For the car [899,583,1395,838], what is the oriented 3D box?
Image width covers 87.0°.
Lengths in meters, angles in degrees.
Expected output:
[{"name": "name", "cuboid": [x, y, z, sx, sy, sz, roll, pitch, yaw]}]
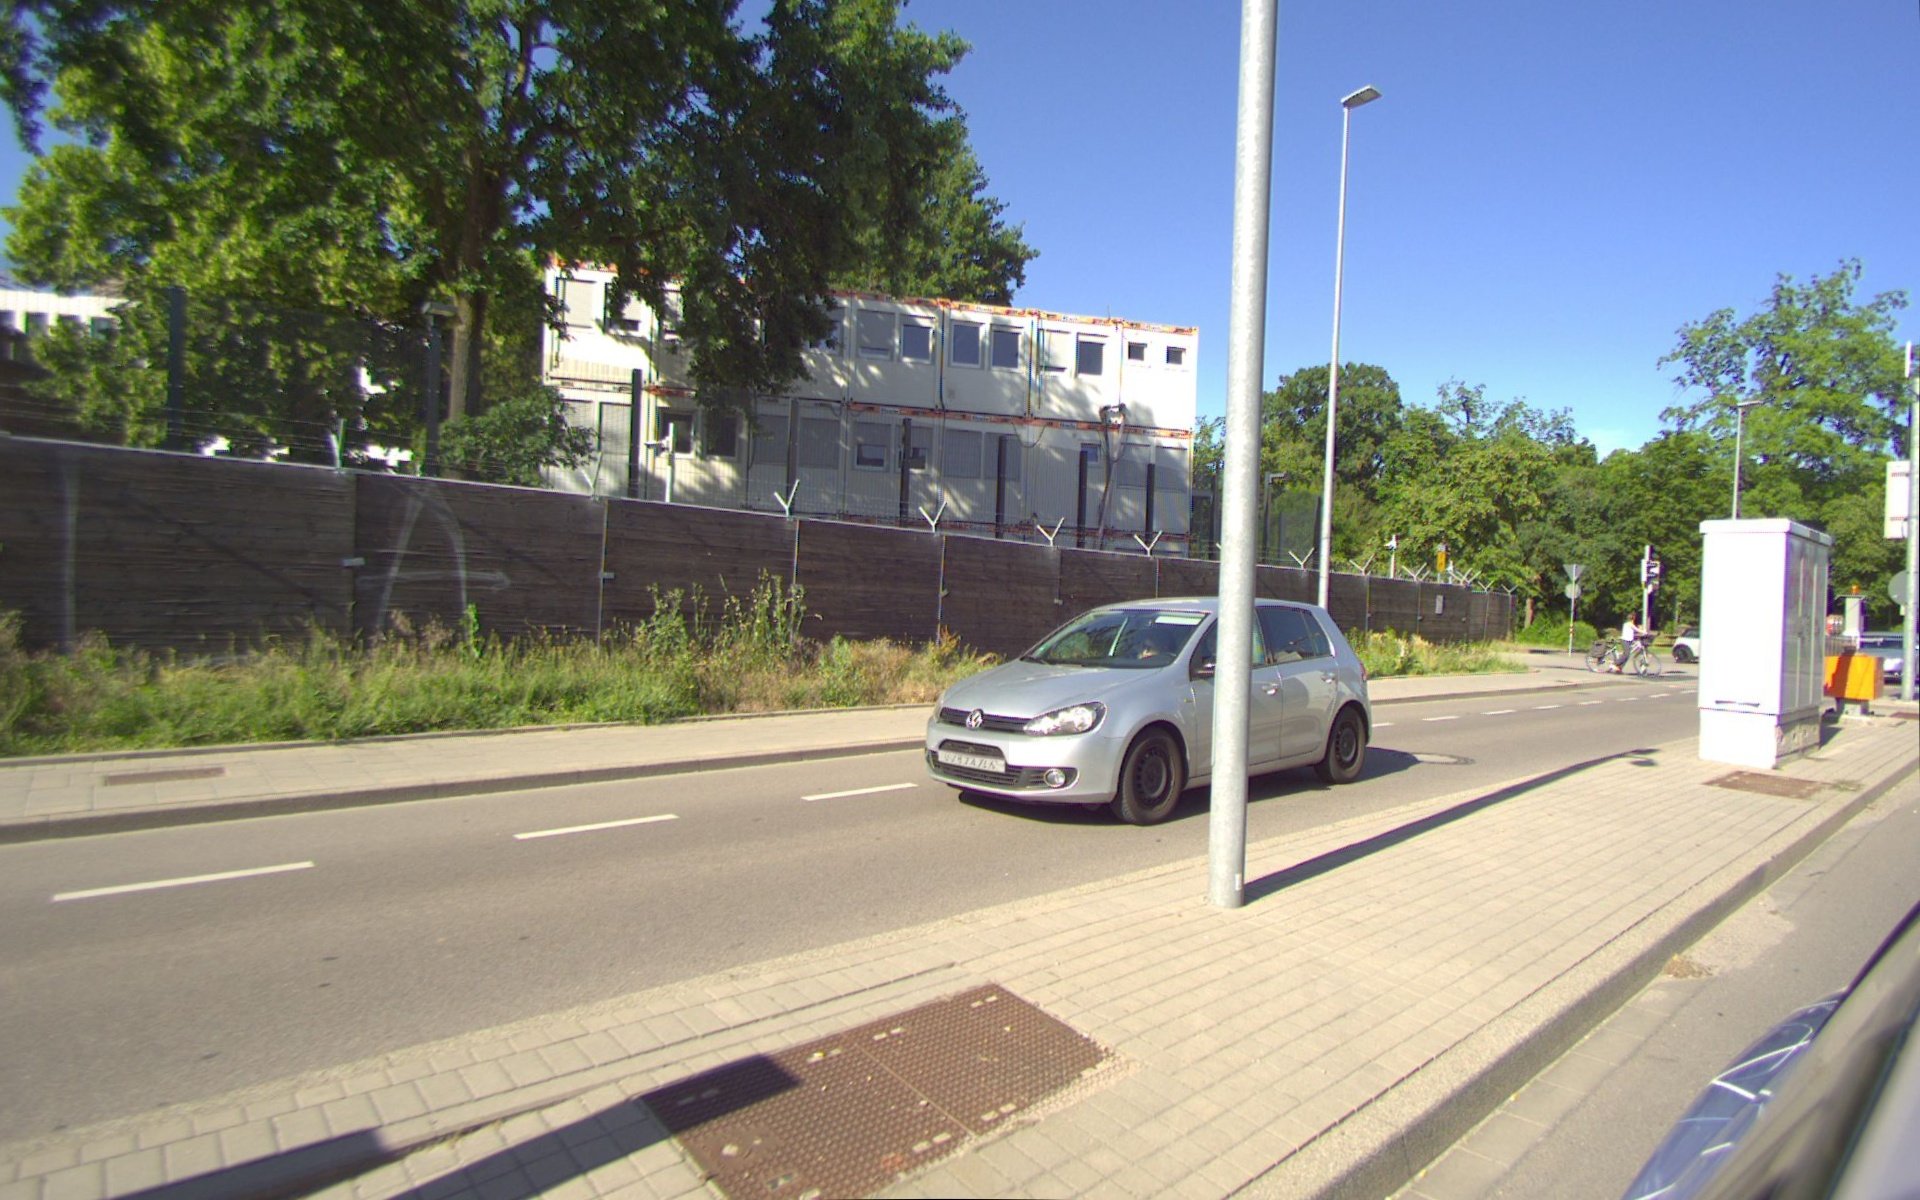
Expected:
[{"name": "car", "cuboid": [1.590, 0.628, 7.708, 3.904, 1.453, 1.669, 0, 0, -41]}]

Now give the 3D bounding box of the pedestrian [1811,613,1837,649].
[{"name": "pedestrian", "cuboid": [42.710, 1.534, 50.026, 0.699, 1.772, 0.647, 0, -1, 2]}]

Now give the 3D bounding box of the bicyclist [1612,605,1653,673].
[{"name": "bicyclist", "cuboid": [17.705, 1.014, 26.654, 0.698, 1.730, 0.649, 5, 2, 43]}]

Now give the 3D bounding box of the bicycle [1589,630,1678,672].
[{"name": "bicycle", "cuboid": [17.705, 1.324, 26.635, 0.484, 0.912, 1.858, 2, 3, -45]}]

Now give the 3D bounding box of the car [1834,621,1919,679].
[{"name": "car", "cuboid": [26.122, 1.352, 28.201, 4.219, 1.419, 1.839, 1, 1, -37]}]
